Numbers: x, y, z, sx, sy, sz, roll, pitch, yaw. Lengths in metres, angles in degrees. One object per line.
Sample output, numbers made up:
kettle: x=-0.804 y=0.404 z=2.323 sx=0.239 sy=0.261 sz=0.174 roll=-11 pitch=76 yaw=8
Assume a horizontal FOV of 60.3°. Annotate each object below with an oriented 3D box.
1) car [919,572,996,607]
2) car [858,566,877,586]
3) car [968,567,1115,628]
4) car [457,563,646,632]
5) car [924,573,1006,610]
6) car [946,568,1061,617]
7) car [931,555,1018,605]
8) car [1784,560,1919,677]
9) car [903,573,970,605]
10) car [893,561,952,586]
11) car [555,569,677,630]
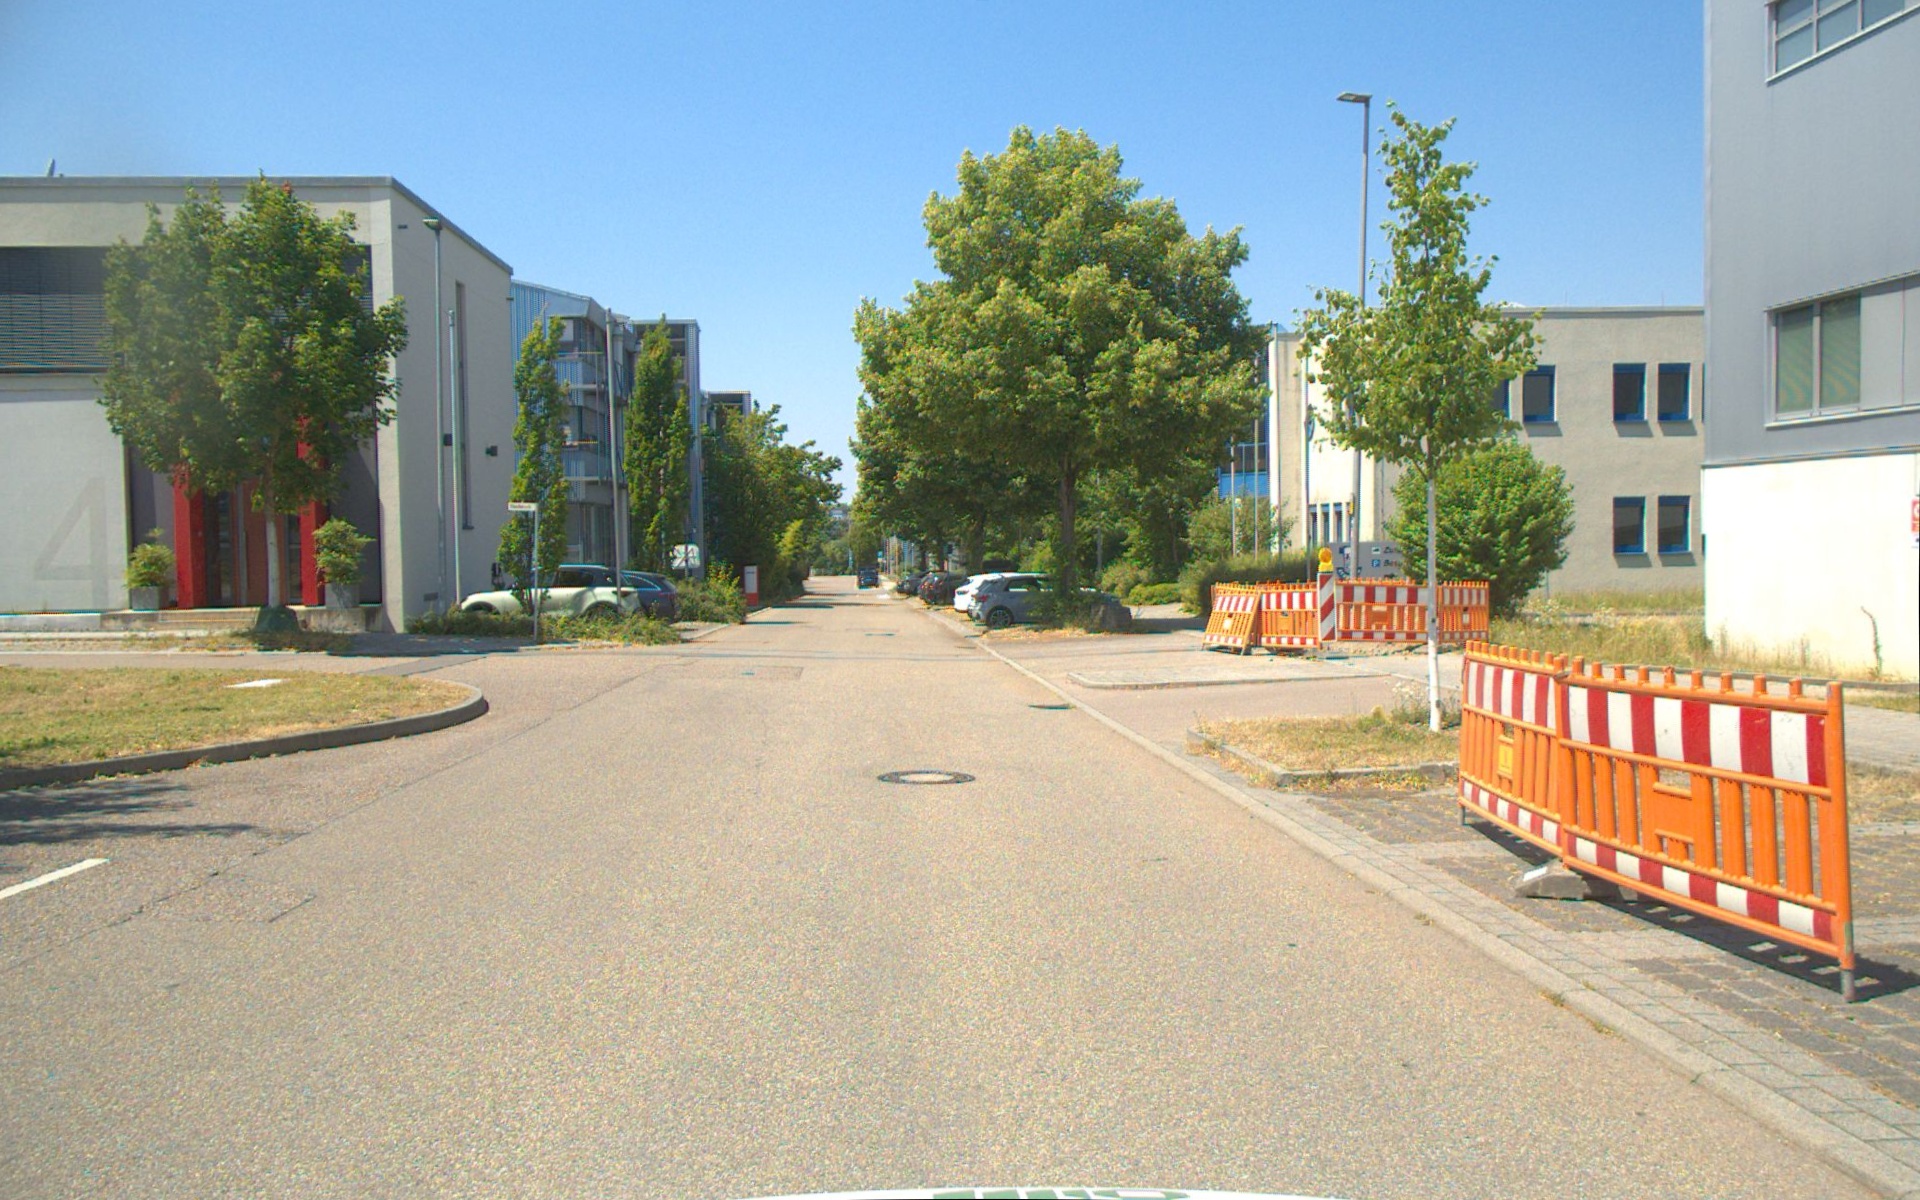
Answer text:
car: x=-0.139 y=-0.513 z=80.850 sx=3.648 sy=1.655 sz=1.812 roll=0 pitch=0 yaw=-4
car: x=-8.586 y=-2.201 z=154.009 sx=1.726 sy=1.786 sz=3.942 roll=0 pitch=0 yaw=-3
car: x=2.127 y=-0.078 z=43.614 sx=3.610 sy=1.378 sz=1.642 roll=-3 pitch=1 yaw=-8
car: x=-9.241 y=-0.059 z=37.687 sx=3.968 sy=1.521 sz=1.726 roll=0 pitch=0 yaw=-6
car: x=0.209 y=-0.389 z=75.732 sx=3.648 sy=1.655 sz=1.812 roll=0 pitch=0 yaw=-4
car: x=1.392 y=-0.237 z=53.251 sx=3.451 sy=1.378 sz=1.535 roll=-3 pitch=1 yaw=-8
car: x=0.612 y=-0.875 z=72.391 sx=3.648 sy=2.147 sz=1.812 roll=0 pitch=0 yaw=-4
car: x=14.756 y=0.223 z=25.767 sx=1.789 sy=1.477 sz=4.001 roll=-1 pitch=4 yaw=-1
car: x=-1.473 y=-0.713 z=102.545 sx=3.861 sy=1.866 sz=1.763 roll=0 pitch=4 yaw=-11
car: x=-2.636 y=-1.829 z=114.979 sx=3.861 sy=1.604 sz=1.763 roll=0 pitch=4 yaw=-11
car: x=-8.805 y=-0.011 z=42.468 sx=3.002 sy=1.504 sz=1.289 roll=1 pitch=0 yaw=-10
